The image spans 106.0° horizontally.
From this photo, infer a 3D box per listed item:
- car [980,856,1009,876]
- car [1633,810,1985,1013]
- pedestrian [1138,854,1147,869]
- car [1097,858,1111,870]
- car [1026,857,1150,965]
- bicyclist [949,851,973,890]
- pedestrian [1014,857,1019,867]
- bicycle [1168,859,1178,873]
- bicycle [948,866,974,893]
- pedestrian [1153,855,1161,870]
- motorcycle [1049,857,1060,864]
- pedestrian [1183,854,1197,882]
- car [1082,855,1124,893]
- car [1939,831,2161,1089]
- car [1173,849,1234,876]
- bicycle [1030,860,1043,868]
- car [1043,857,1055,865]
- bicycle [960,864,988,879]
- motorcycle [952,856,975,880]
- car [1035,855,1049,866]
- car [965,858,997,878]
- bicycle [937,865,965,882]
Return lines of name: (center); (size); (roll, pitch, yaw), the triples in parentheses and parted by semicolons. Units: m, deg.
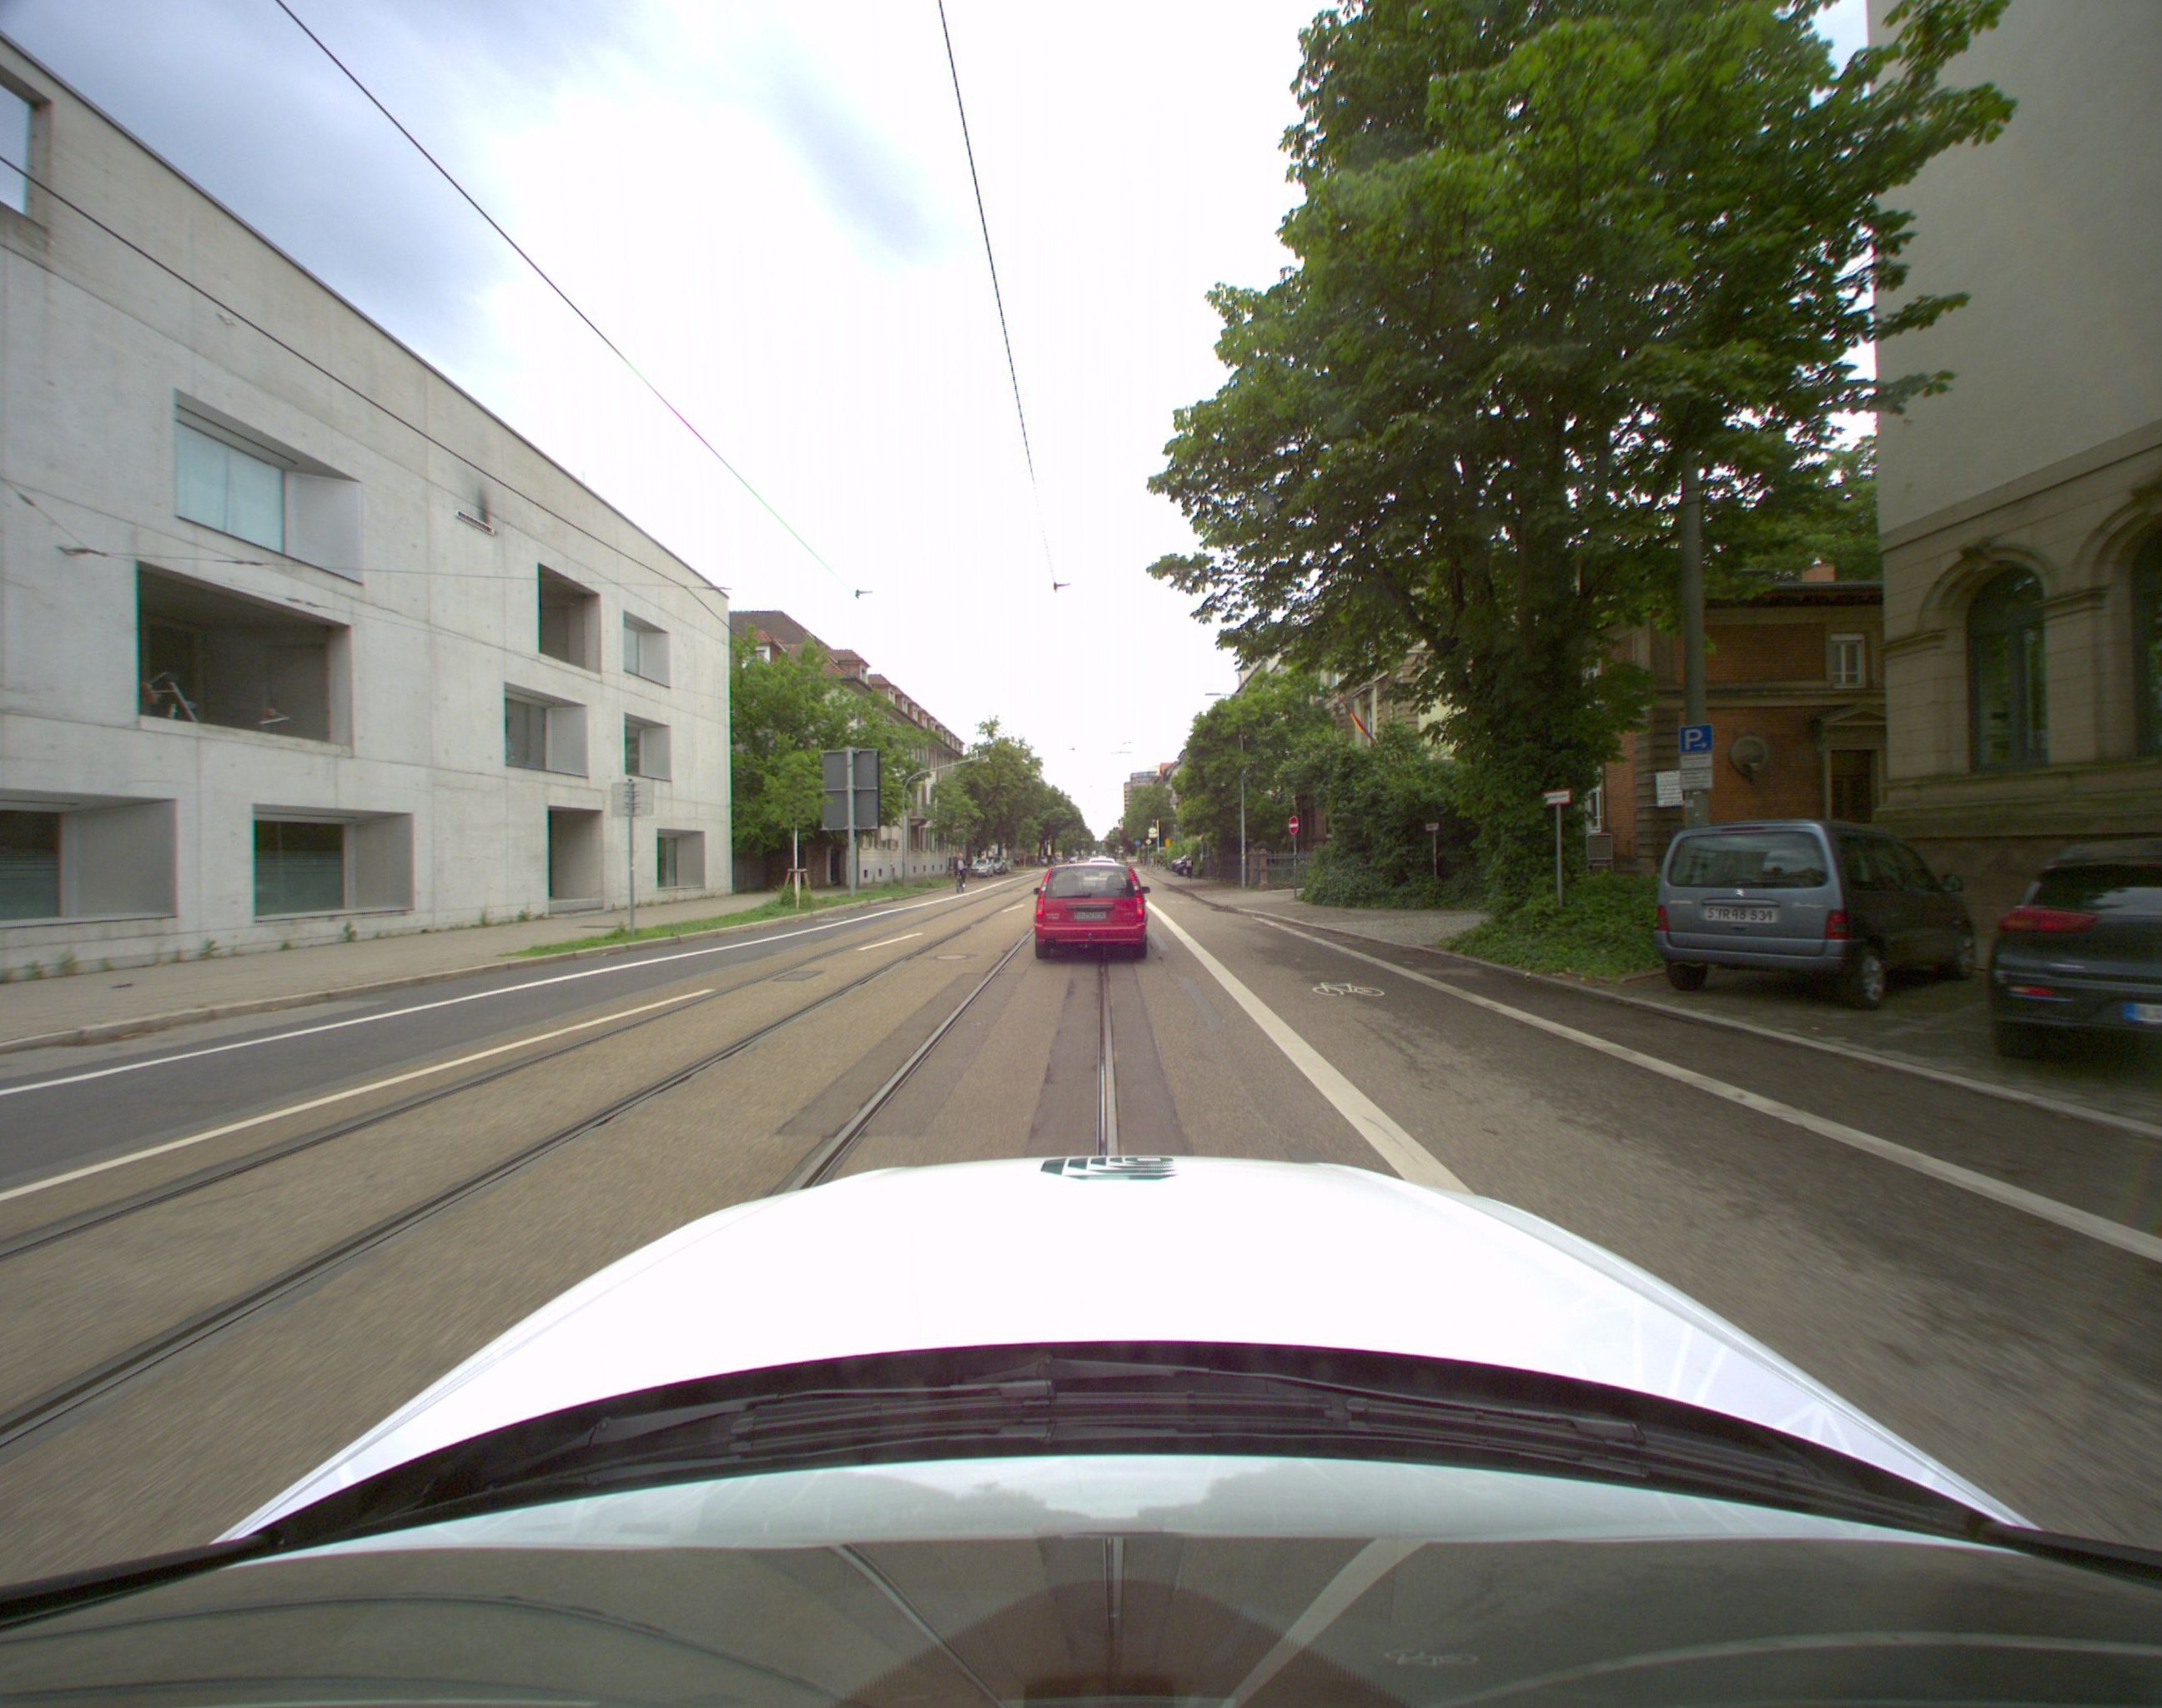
car: (-7.465, 1.009, 70.904); (1.830, 1.661, 4.296); (1, 0, 2)
car: (8.118, 0.479, 9.039); (3.852, 1.820, 1.789); (-1, 0, -30)
pedestrian: (7.254, 0.871, 96.037); (0.867, 1.656, 0.912); (-1, 0, 13)
car: (3.181, 1.347, 111.695); (1.736, 1.606, 3.998); (-1, 0, -1)
car: (0.165, 0.784, 13.035); (1.682, 1.441, 3.745); (-1, 0, 2)
bicyclist: (-5.647, 0.773, 38.380); (0.788, 1.783, 1.148); (-4, 0, 2)
pedestrian: (-9.365, 1.205, 118.394); (0.562, 1.467, 0.723); (-1, -1, 1)
bicycle: (7.606, 0.985, 67.579); (0.630, 1.127, 1.812); (-3, 0, 1)
bicycle: (-5.618, 1.186, 38.371); (0.788, 1.186, 2.011); (-4, 0, 2)
pedestrian: (8.231, 0.883, 88.089); (0.790, 1.636, 0.836); (-1, 0, 1)
motorcycle: (-5.589, 1.346, 169.703); (2.243, 1.511, 0.932); (-1, -2, 36)
pedestrian: (6.637, 0.848, 49.728); (0.621, 1.671, 0.960); (-4, 0, 0)
car: (1.021, 0.855, 36.393); (1.711, 1.625, 3.944); (-1, 0, 3)
car: (8.201, 0.607, 6.067); (4.016, 1.539, 1.845); (-2, 0, -34)
car: (9.172, 0.613, 61.177); (4.263, 1.809, 1.825); (-2, 0, 2)
bicycle: (-6.848, 1.527, 125.324); (1.915, 1.121, 0.624); (1, -1, 0)
car: (-5.799, 1.246, 148.255); (1.770, 1.511, 4.240); (0, 0, 2)
bicycle: (-7.760, 1.267, 59.071); (1.890, 1.027, 0.563); (-1, 0, -4)
motorcycle: (-7.994, 0.934, 55.479); (0.827, 1.643, 2.486); (-1, 0, 9)
car: (-6.178, 1.050, 129.480); (1.891, 1.655, 4.225); (0, 0, 0)
car: (-7.647, 1.040, 62.410); (1.805, 1.466, 4.614); (0, 0, 1)
bicycle: (-8.481, 1.276, 53.241); (1.727, 1.129, 0.520); (-1, 0, 19)
